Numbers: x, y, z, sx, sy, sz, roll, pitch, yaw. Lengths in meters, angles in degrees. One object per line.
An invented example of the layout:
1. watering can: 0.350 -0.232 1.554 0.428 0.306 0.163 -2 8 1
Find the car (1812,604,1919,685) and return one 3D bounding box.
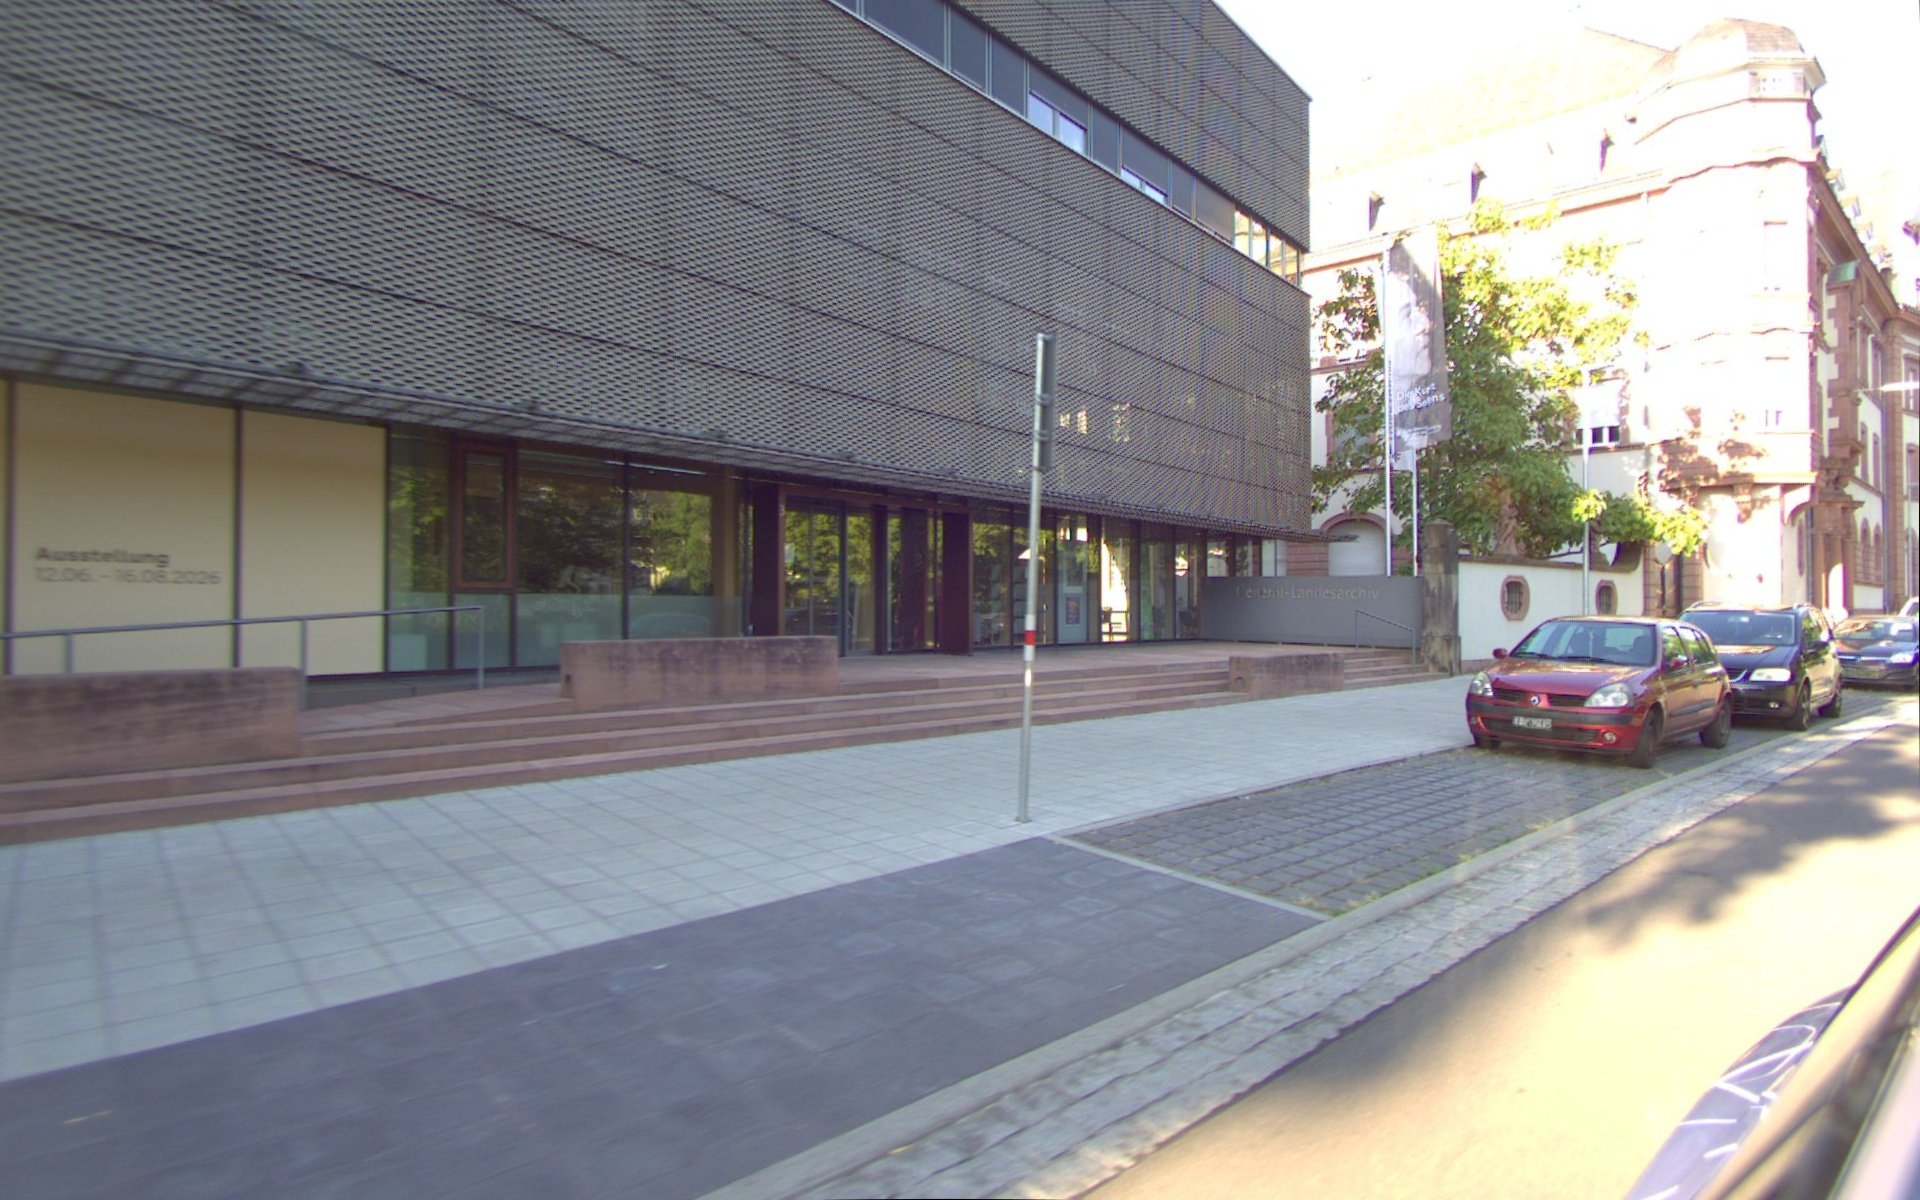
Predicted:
1. car: 19.188 0.844 20.834 4.397 1.485 1.751 0 0 -39

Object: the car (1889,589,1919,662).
1. car: 28.300 0.672 28.554 4.756 1.991 2.000 0 0 -34

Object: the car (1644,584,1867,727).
1. car: 11.157 0.671 14.094 4.042 1.690 1.727 1 0 -41

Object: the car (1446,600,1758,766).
1. car: 6.951 0.747 10.821 3.836 1.439 1.728 1 0 -40
